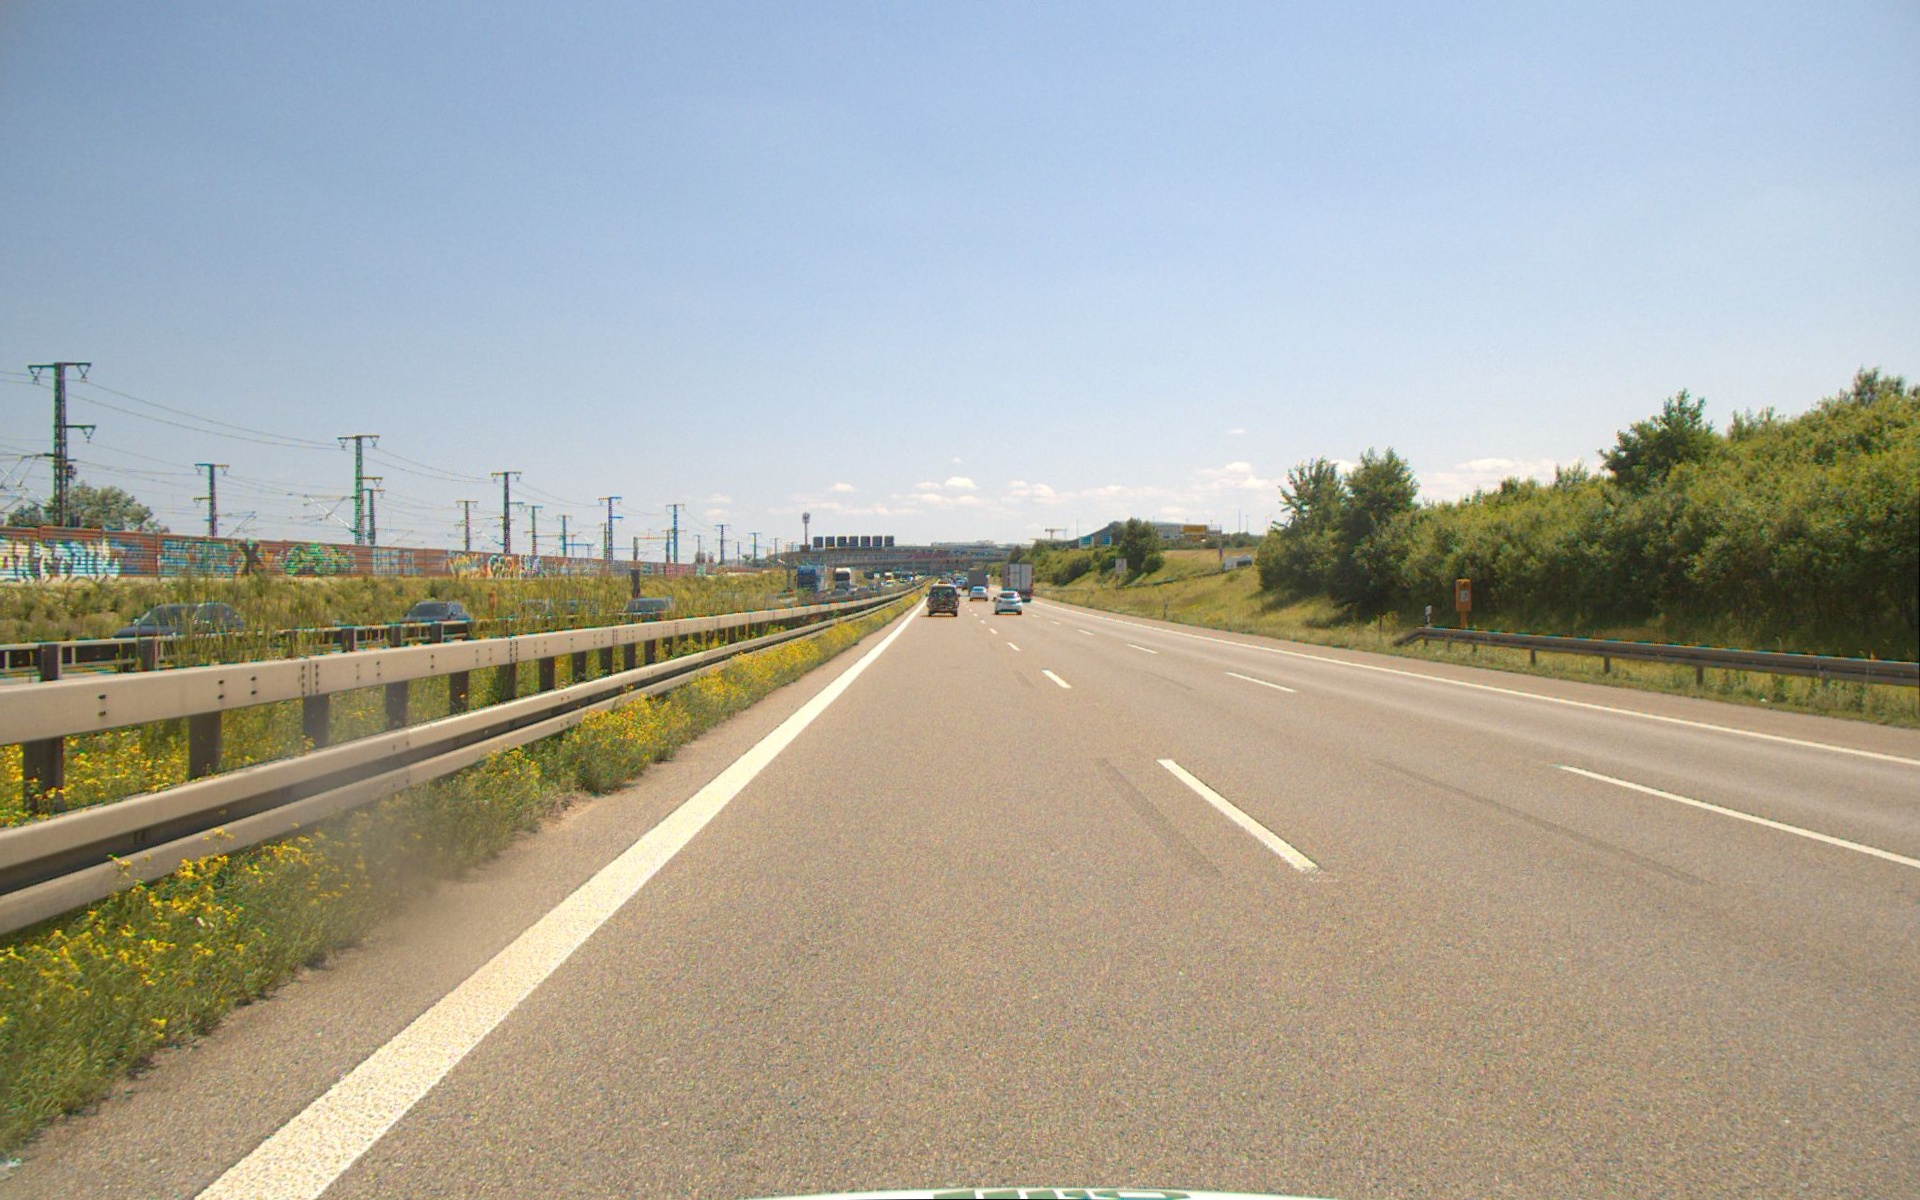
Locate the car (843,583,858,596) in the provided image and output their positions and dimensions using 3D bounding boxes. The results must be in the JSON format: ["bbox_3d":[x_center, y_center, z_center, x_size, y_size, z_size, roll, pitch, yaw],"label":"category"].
[{"bbox_3d":[-15.373,-1.477,232.044,1.953,1.676,4.000,0,0,0],"label":"car"}]

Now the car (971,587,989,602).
[{"bbox_3d":[2.058,-0.592,171.847,1.842,1.553,4.000,0,0,0],"label":"car"}]

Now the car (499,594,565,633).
[{"bbox_3d":[-20.123,0.629,77.950,1.953,1.757,4.512,0,0,-1],"label":"car"}]

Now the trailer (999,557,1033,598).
[{"bbox_3d":[5.793,-2.345,171.838,3.112,4.130,9.439,-1,1,0],"label":"trailer"}]

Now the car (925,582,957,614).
[{"bbox_3d":[-1.103,-0.097,96.717,1.842,1.806,3.999,-1,0,-1],"label":"car"}]

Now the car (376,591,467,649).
[{"bbox_3d":[-19.951,0.736,61.431,1.953,2.049,4.309,1,-1,0],"label":"car"}]

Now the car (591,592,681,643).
[{"bbox_3d":[-9.349,0.475,48.073,1.829,1.419,4.270,0,0,-1],"label":"car"}]

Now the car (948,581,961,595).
[{"bbox_3d":[-0.867,-1.828,250.125,1.953,2.049,3.999,0,0,-1],"label":"car"}]

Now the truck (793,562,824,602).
[{"bbox_3d":[-17.699,-2.089,193.704,2.829,4.484,7.502,-1,1,0],"label":"truck"}]

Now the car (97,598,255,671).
[{"bbox_3d":[-20.284,0.855,43.011,1.953,1.757,4.513,0,0,0],"label":"car"}]

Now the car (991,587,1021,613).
[{"bbox_3d":[2.962,-0.003,105.331,1.841,1.553,4.001,0,0,2],"label":"car"}]

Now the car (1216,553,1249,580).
[{"bbox_3d":[26.419,-3.272,160.461,2.228,2.572,5.398,0,1,-2],"label":"car"}]

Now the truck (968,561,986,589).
[{"bbox_3d":[2.211,-3.259,215.178,2.307,3.475,6.057,0,1,0],"label":"truck"}]
